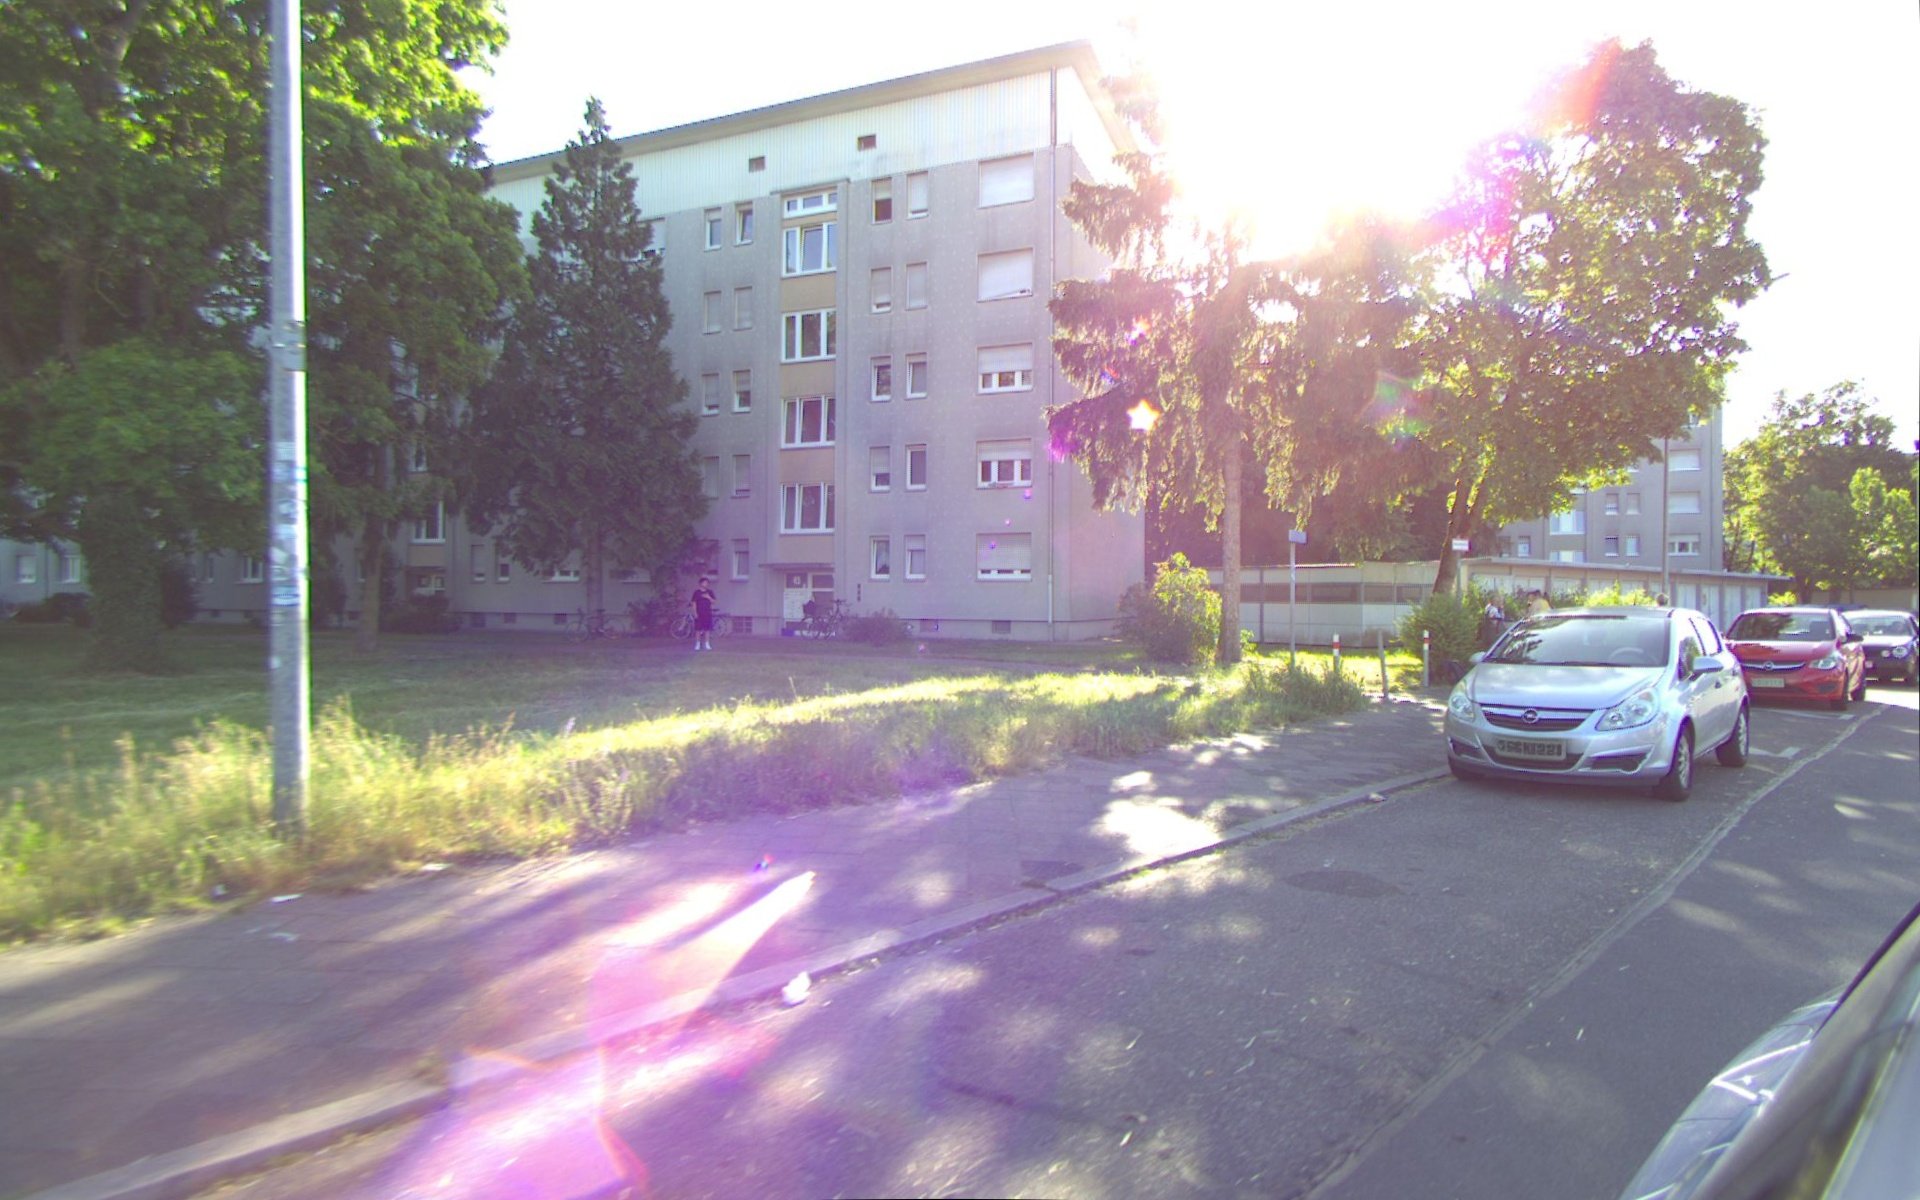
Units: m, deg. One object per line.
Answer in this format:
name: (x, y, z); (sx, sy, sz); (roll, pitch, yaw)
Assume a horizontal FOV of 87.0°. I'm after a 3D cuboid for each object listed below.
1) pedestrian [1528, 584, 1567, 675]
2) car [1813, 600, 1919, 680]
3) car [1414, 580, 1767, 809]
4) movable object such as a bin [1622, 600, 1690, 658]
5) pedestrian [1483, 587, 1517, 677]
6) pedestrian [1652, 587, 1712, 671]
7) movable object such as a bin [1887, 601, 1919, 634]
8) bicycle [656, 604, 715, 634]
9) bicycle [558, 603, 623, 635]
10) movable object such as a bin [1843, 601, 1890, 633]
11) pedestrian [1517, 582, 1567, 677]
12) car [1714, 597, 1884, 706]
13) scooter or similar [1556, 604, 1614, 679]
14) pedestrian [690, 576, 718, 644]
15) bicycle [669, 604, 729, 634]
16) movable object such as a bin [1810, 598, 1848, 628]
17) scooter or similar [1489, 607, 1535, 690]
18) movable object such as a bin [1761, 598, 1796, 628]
pedestrian: (10.524, 0.520, 18.119); (0.461, 1.584, 0.486); (-1, 2, -45)
car: (18.595, 0.732, 20.330); (3.814, 1.420, 1.650); (-1, 1, -40)
car: (5.620, 0.641, 8.844); (3.725, 1.562, 1.732); (-1, 0, -44)
movable object such as a bin: (17.740, 0.726, 25.807); (0.898, 1.421, 1.240); (0, 0, -39)
pedestrian: (9.276, 0.538, 17.397); (0.492, 1.522, 0.362); (-1, 2, -44)
pedestrian: (13.836, 0.552, 19.399); (0.560, 1.585, 0.788); (0, -2, -41)
movable object such as a bin: (40.936, 0.730, 43.521); (1.031, 1.364, 1.256); (-1, 0, -25)
bicycle: (-8.271, 0.576, 30.500); (1.651, 0.858, 0.512); (-1, -2, -42)
bicycle: (-10.346, 0.524, 28.354); (1.651, 0.858, 0.512); (-1, -2, -42)
movable object such as a bin: (40.385, 0.733, 45.100); (1.031, 1.364, 1.256); (-1, 0, -25)
pedestrian: (9.926, 0.490, 17.261); (0.585, 1.584, 0.483); (-1, 2, -31)
car: (13.068, 0.703, 15.692); (3.725, 1.465, 1.576); (-1, 0, -44)
scooter or similar: (10.925, 0.708, 17.686); (0.889, 1.242, 0.624); (0, 1, -41)
pedestrian: (-6.362, 0.246, 25.112); (0.525, 1.684, 0.491); (-1, -2, -31)
bicycle: (-7.729, 0.552, 30.024); (1.651, 0.858, 0.512); (-1, -2, -42)
movable object such as a bin: (39.864, 0.593, 46.439); (0.847, 1.364, 1.081); (-1, 0, -25)
scooter or similar: (8.832, 0.744, 16.219); (0.395, 1.242, 1.247); (1, 1, 18)
movable object such as a bin: (39.854, 0.607, 49.269); (0.817, 1.435, 1.080); (-1, 0, -31)
